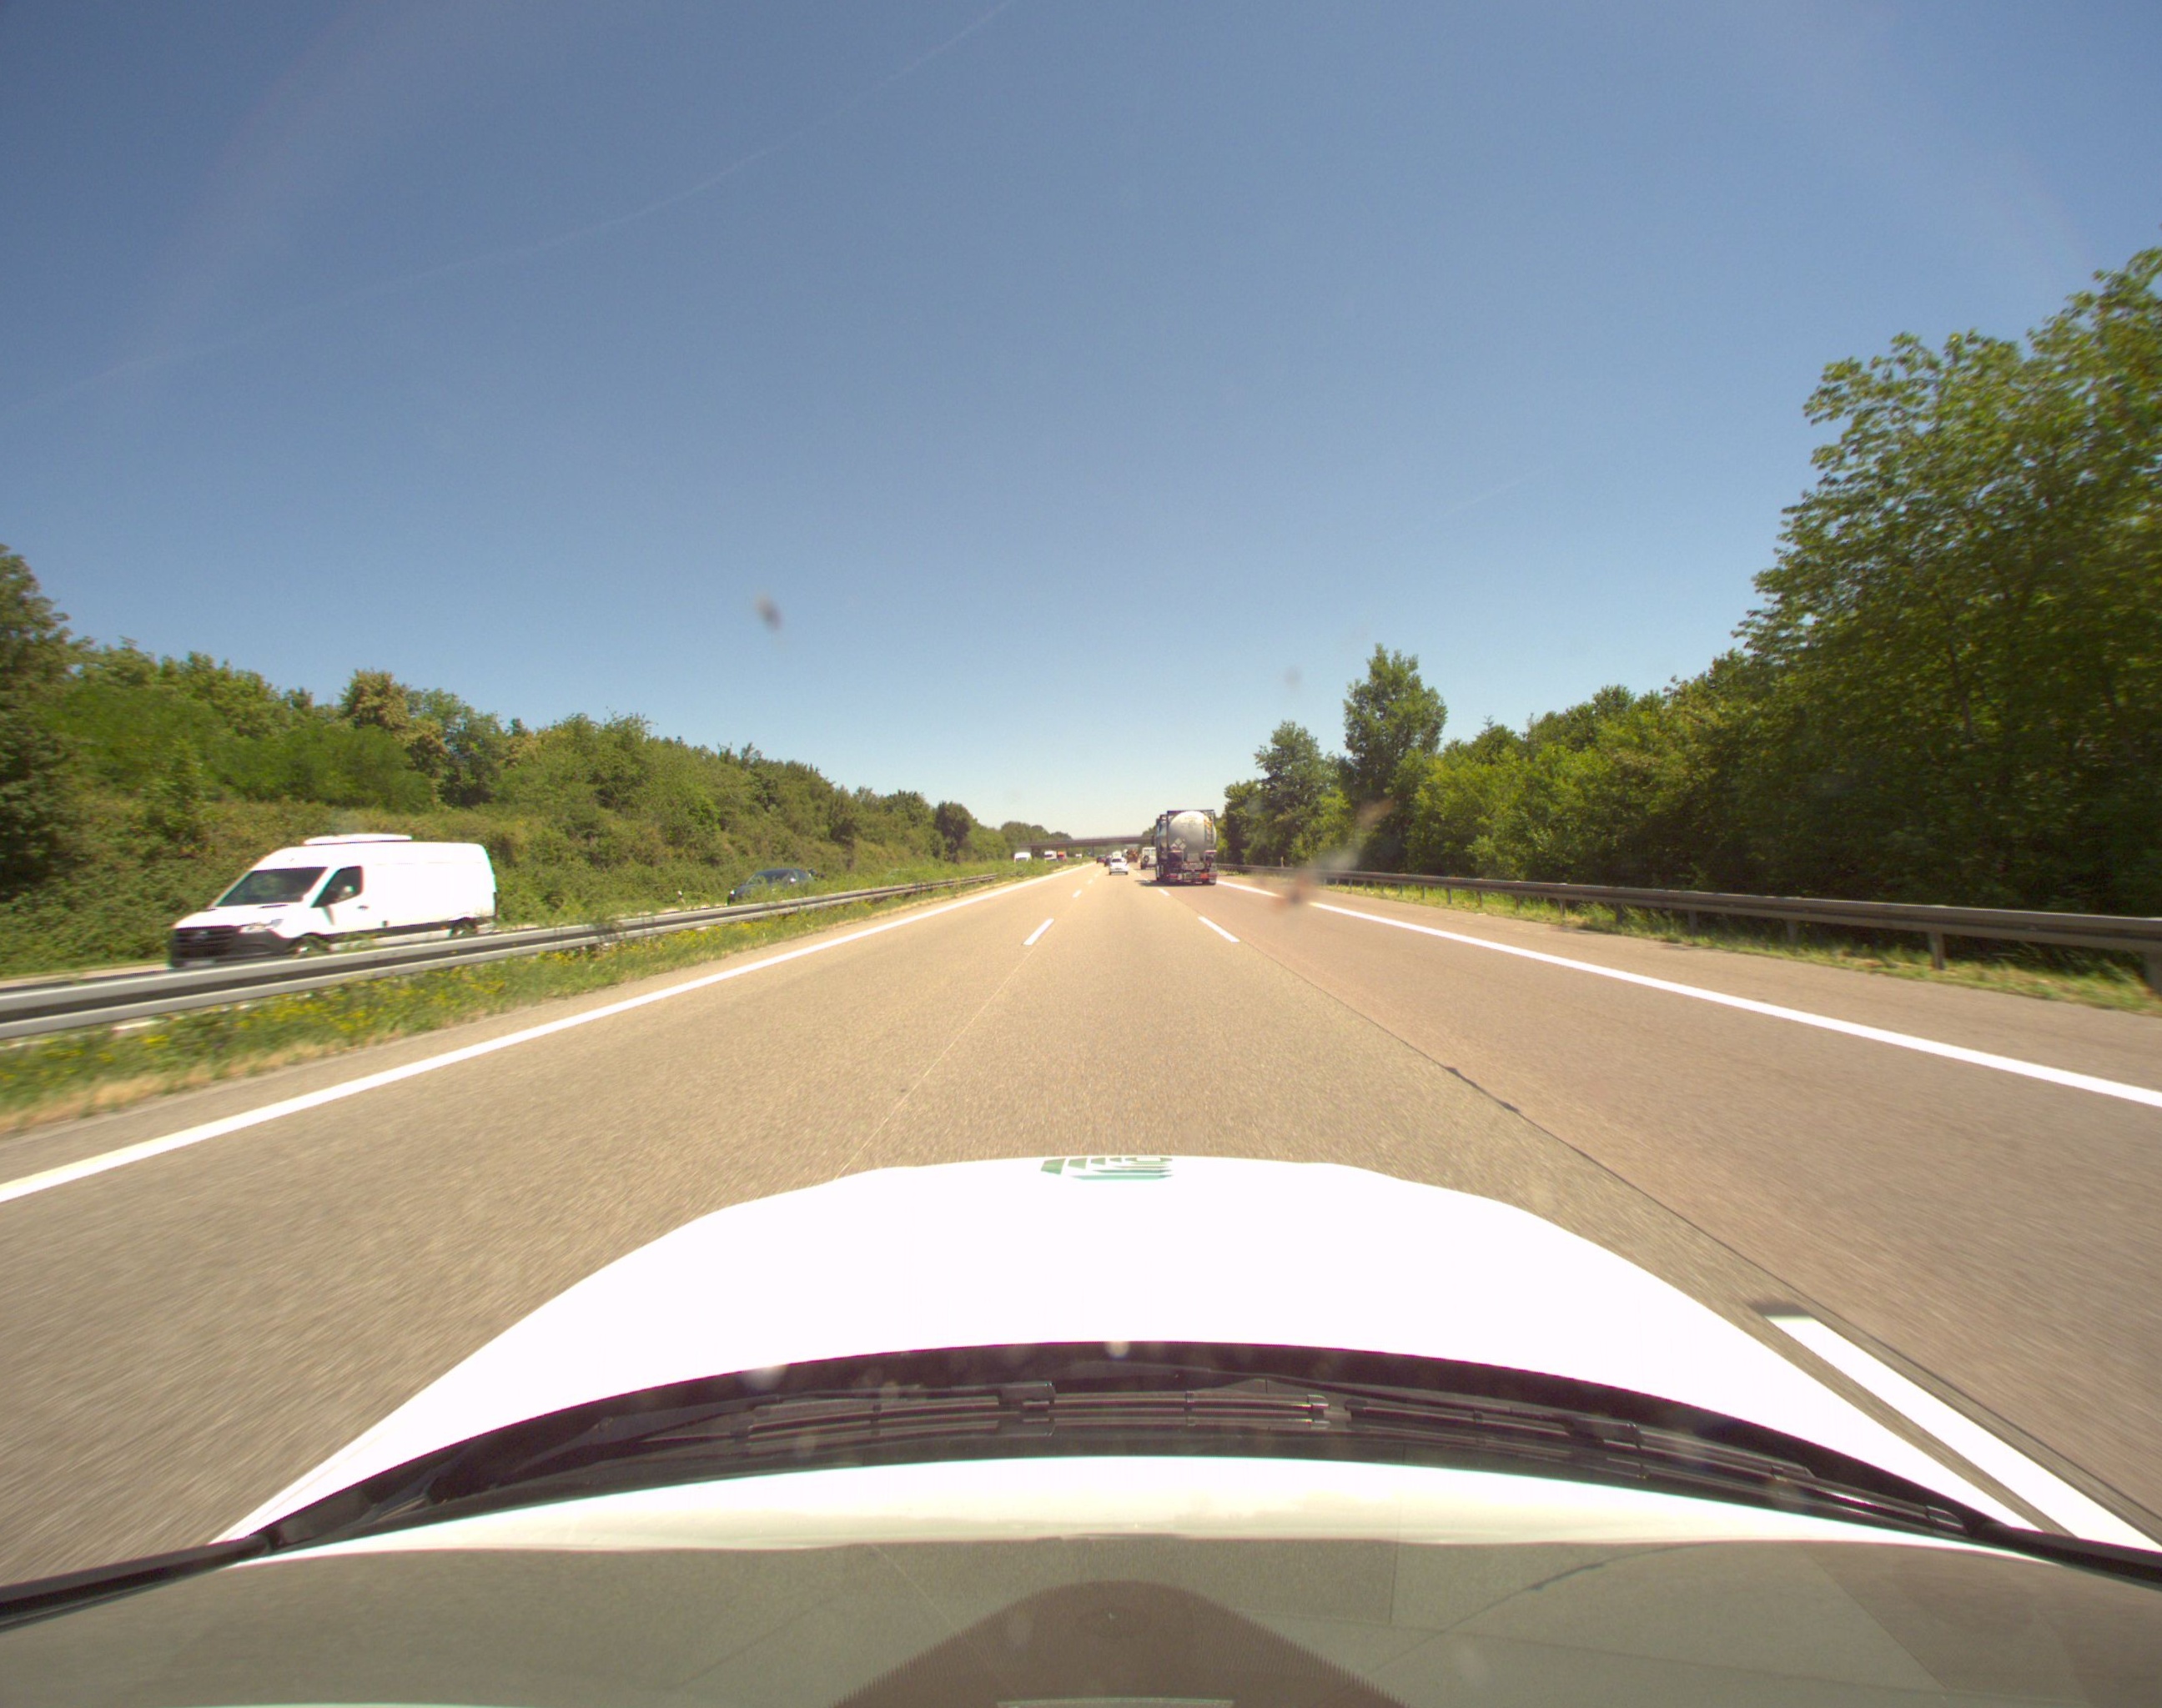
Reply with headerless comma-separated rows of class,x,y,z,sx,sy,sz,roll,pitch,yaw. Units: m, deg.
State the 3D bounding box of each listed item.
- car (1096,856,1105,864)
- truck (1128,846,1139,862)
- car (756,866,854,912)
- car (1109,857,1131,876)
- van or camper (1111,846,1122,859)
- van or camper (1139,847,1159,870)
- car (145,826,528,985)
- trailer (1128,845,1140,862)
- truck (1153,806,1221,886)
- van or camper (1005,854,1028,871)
car,4.619,1.405,193.435,2.044,2.014,4.178,0,0,2
truck,13.428,-0.033,207.458,2.658,3.994,6.642,-1,0,3
car,-10.870,1.332,32.525,1.986,1.567,5.046,-2,0,2
car,3.464,1.098,72.831,1.850,1.652,4.002,0,0,2
van or camper,7.652,-0.301,174.180,2.049,2.622,5.990,-2,-1,3
van or camper,8.325,0.549,100.159,2.105,2.703,6.371,-1,0,2
car,-15.660,0.951,17.979,2.028,2.746,6.661,-4,-1,2
trailer,12.964,-0.007,200.211,2.642,3.958,13.648,-1,0,3
truck,5.967,-0.375,48.112,2.787,4.046,13.362,0,0,2
van or camper,-9.023,1.214,114.283,2.416,2.366,6.339,0,0,2
